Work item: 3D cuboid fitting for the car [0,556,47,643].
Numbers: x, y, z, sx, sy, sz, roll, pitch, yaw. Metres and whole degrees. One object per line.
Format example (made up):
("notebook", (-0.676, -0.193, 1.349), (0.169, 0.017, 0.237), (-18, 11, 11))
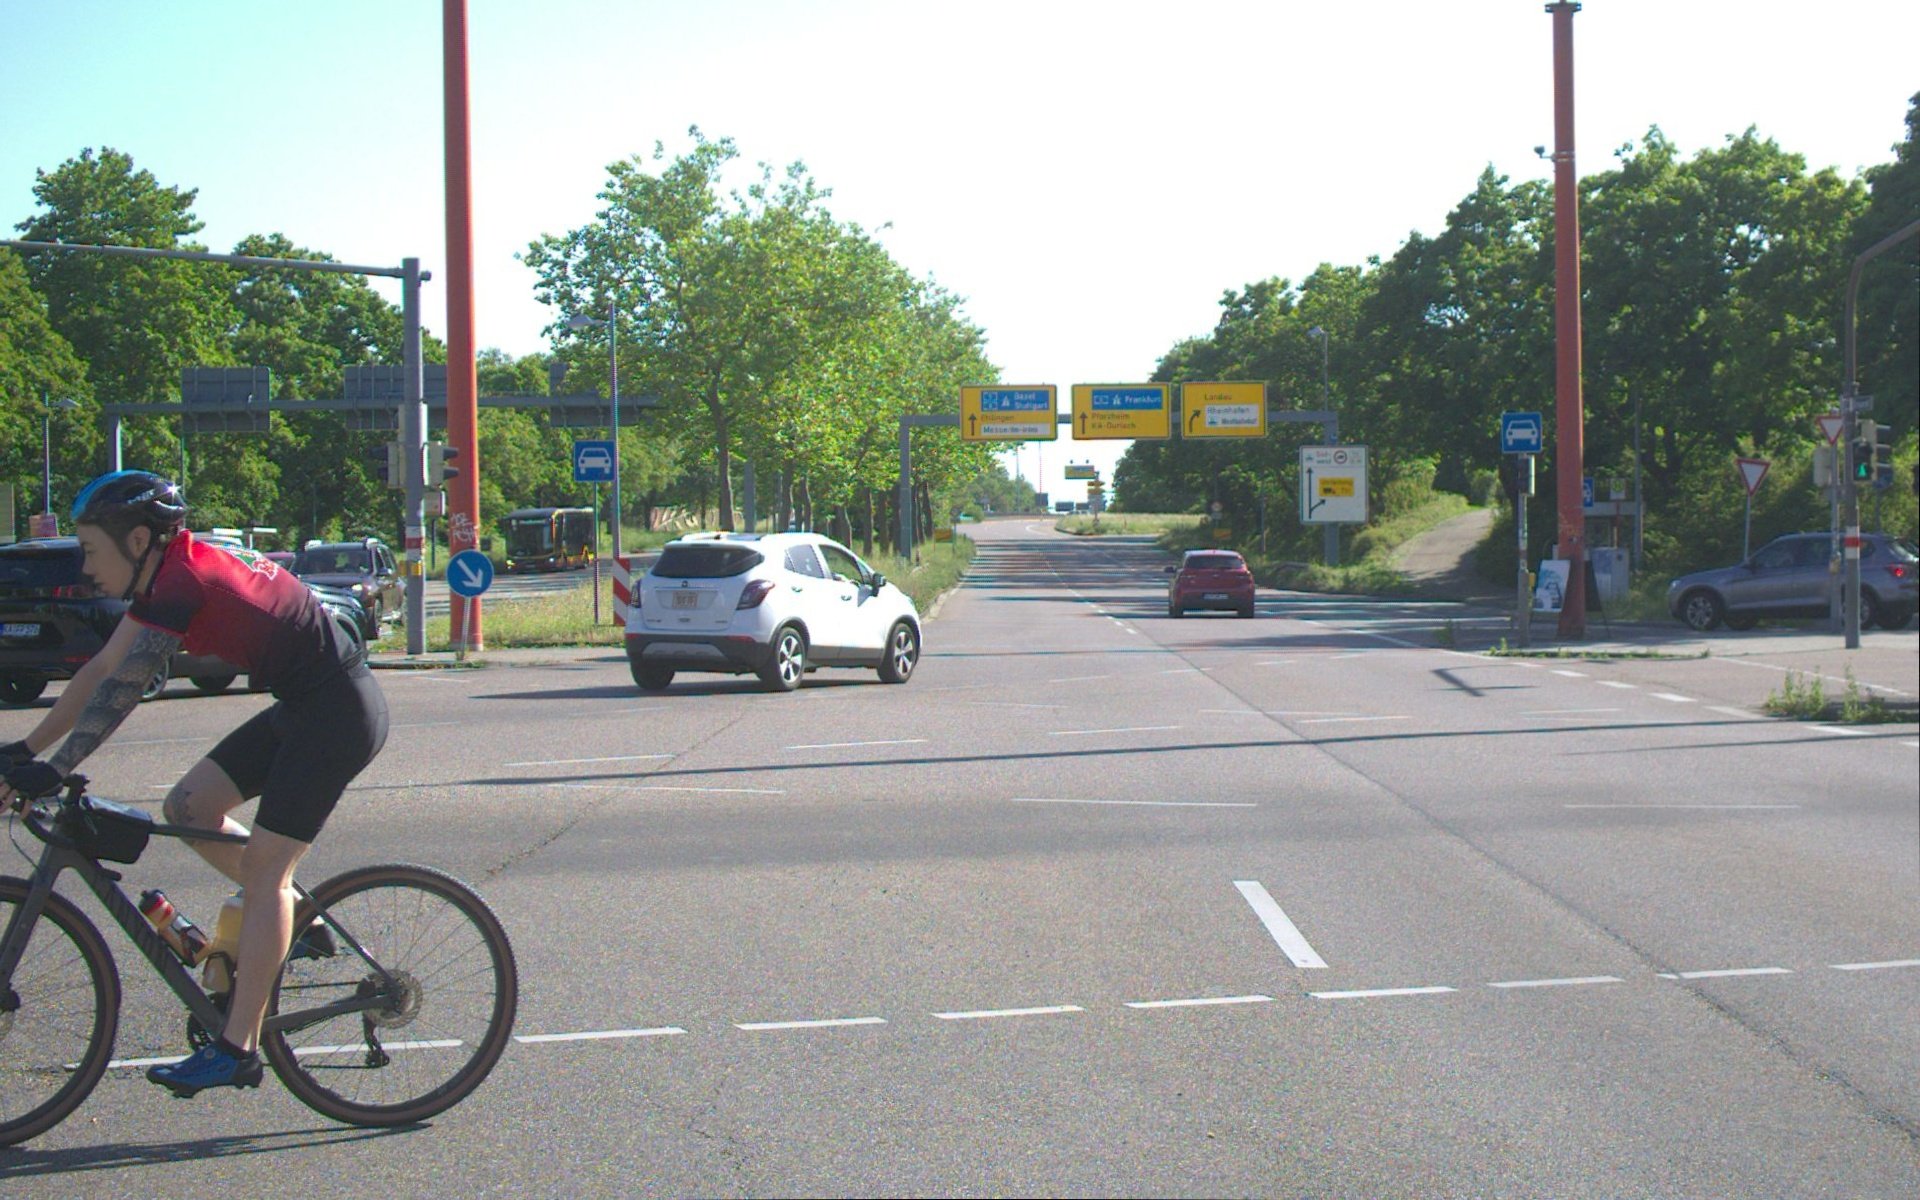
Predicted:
("car", (-16.423, -0.015, 56.883), (1.739, 1.406, 3.613), (-1, 1, -1))

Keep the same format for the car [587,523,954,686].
("car", (-1.950, 0.006, 36.652), (1.826, 1.630, 4.246), (0, 1, 31))

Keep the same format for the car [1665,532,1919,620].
("car", (14.580, -0.420, 59.484), (4.323, 1.480, 1.782), (0, 1, 33))

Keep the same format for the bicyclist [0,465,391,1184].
("bicyclist", (-2.050, 0.530, 8.814), (0.993, 1.735, 0.737), (-1, 1, -24))

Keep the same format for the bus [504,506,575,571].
("bus", (-21.780, -3.179, 178.338), (2.492, 3.227, 10.001), (-1, 1, 0))

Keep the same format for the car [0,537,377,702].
("car", (-8.069, 0.149, 34.610), (1.856, 1.540, 4.253), (0, 1, 36))

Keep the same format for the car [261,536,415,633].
("car", (-10.089, -0.270, 56.009), (1.819, 1.503, 4.000), (-1, 1, -1))

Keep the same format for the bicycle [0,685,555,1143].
("bicycle", (-2.030, 0.780, 8.852), (1.825, 1.054, 0.723), (-1, 1, -21))

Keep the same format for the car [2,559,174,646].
("car", (-13.119, 0.015, 51.908), (1.739, 1.239, 3.613), (-1, 1, -1))

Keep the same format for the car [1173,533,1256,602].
("car", (5.532, -0.717, 74.431), (1.680, 1.430, 4.064), (0, 1, 6))

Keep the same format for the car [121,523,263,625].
("car", (-15.863, -0.542, 71.251), (1.893, 2.019, 5.223), (1, 0, -1))
